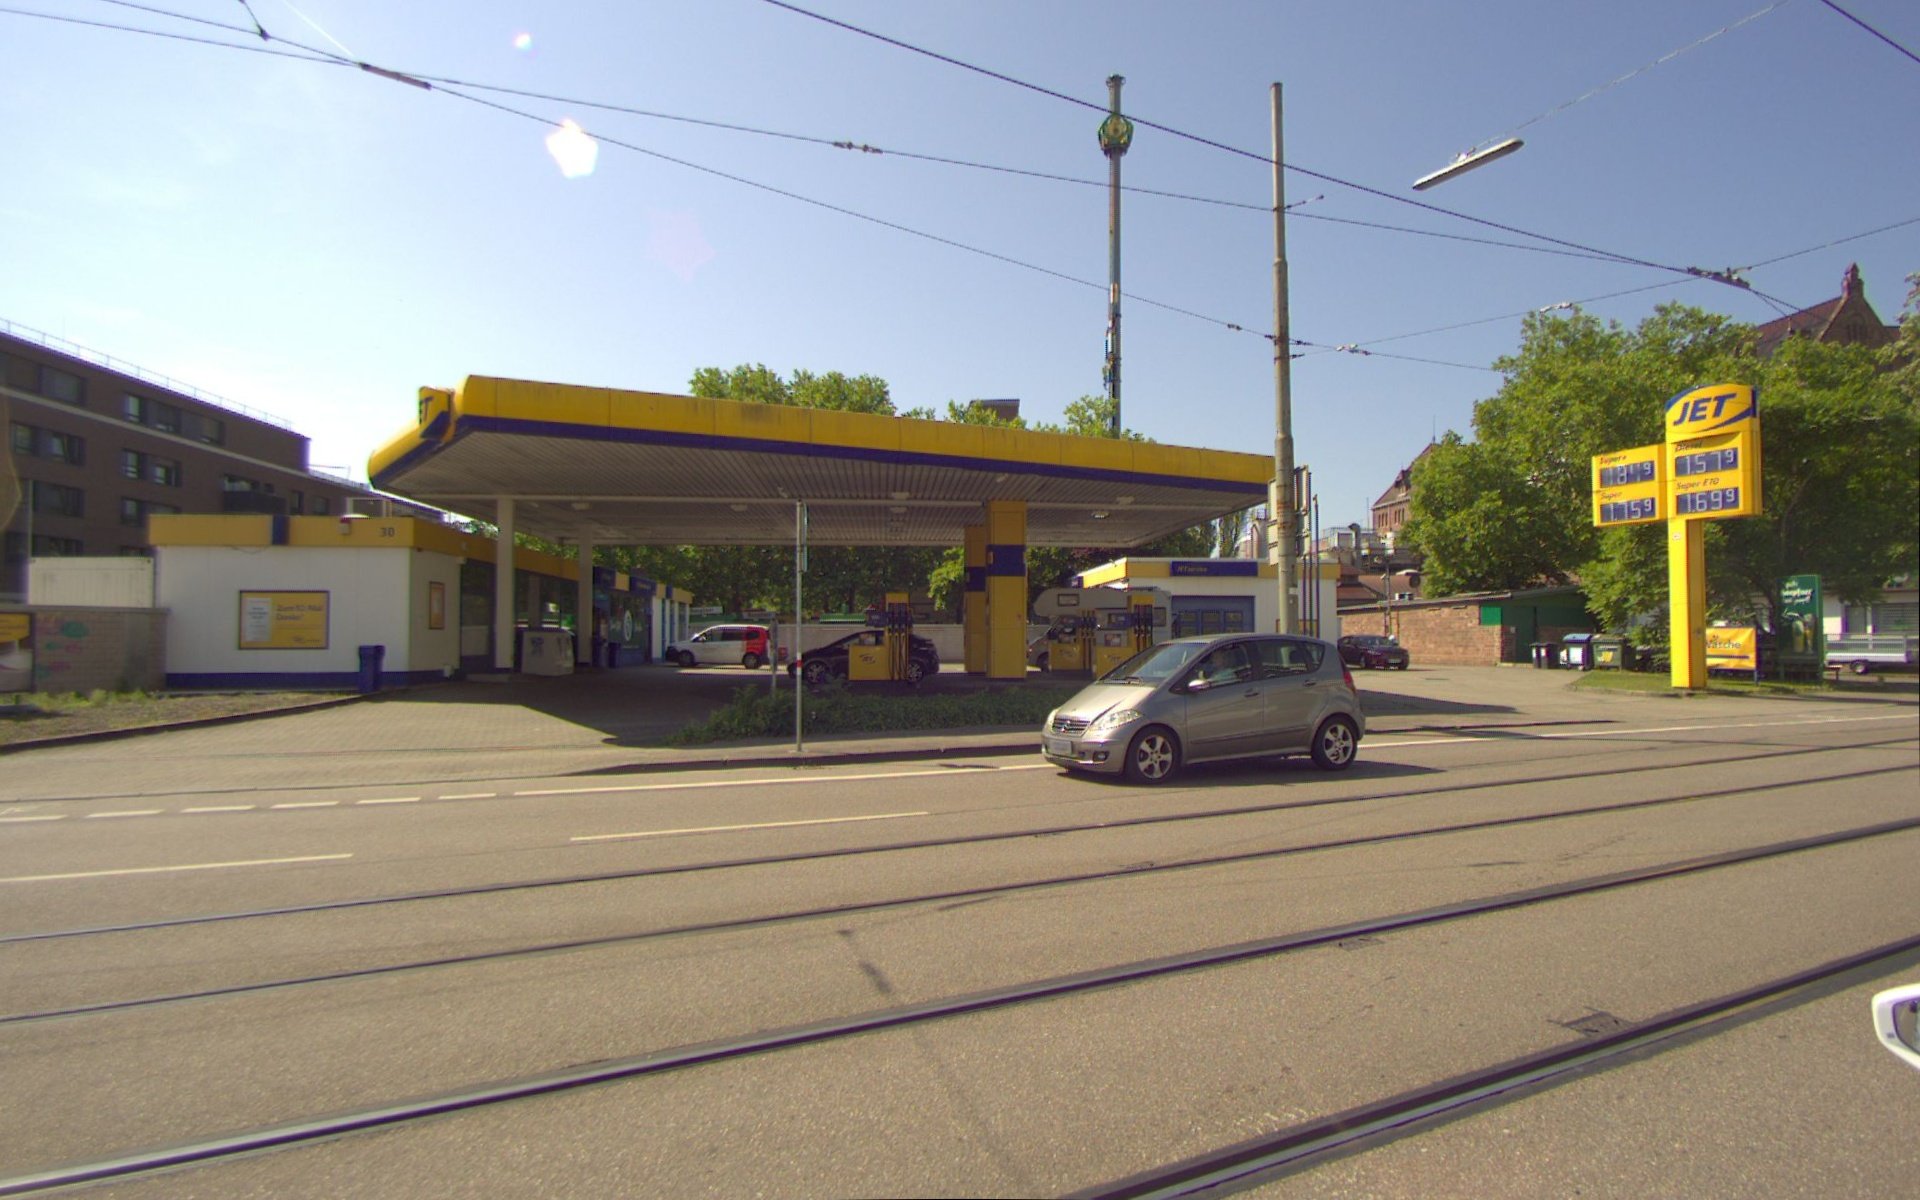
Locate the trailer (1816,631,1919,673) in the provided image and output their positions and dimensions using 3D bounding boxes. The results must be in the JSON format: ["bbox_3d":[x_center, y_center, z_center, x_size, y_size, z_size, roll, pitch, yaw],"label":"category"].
[{"bbox_3d":[35.468,1.963,38.845,1.755,1.546,3.204,1,-2,-27],"label":"trailer"}]

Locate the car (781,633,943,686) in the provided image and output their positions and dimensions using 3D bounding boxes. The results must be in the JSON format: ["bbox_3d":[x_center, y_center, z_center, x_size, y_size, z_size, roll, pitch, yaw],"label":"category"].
[{"bbox_3d":[-2.662,1.624,27.699,4.306,1.320,1.701,1,0,-4],"label":"car"}]

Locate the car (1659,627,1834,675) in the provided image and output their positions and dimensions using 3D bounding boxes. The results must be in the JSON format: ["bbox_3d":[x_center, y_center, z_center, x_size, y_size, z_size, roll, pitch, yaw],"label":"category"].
[{"bbox_3d":[27.966,1.784,35.901,4.486,1.646,1.951,0,-2,16],"label":"car"}]

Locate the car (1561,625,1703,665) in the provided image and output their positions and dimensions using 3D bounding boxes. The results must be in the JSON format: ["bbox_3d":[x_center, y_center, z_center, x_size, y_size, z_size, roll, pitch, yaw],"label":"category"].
[{"bbox_3d":[27.660,1.854,41.525,4.487,1.604,1.950,-1,-2,17],"label":"car"}]

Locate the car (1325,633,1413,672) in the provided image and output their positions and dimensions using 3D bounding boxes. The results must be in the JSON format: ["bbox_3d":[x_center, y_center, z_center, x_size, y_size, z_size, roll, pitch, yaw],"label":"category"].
[{"bbox_3d":[17.331,2.202,42.747,1.900,1.547,4.171,1,-2,-3],"label":"car"}]

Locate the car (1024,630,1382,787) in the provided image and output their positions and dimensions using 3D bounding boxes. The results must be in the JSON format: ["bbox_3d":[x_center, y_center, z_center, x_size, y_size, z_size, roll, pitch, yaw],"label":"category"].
[{"bbox_3d":[2.848,1.196,11.802,3.838,1.591,1.742,2,-4,-24],"label":"car"}]

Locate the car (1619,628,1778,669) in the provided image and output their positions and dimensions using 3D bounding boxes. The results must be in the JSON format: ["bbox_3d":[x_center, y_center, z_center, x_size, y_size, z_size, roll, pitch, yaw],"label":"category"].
[{"bbox_3d":[28.162,1.826,38.461,4.486,1.487,1.951,0,-2,16],"label":"car"}]

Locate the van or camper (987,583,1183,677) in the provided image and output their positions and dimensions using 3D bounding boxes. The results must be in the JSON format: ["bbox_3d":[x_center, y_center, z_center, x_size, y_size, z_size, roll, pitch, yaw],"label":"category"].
[{"bbox_3d":[4.431,1.000,35.727,6.576,3.007,2.618,2,1,8],"label":"van or camper"}]

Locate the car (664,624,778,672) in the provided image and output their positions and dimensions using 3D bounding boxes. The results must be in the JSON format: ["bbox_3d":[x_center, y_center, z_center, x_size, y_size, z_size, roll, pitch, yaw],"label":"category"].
[{"bbox_3d":[-9.961,1.989,42.090,4.389,1.786,1.777,2,0,-5],"label":"car"}]

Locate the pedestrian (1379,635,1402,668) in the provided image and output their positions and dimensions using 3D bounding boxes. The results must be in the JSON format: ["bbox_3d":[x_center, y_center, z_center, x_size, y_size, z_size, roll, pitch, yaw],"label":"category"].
[{"bbox_3d":[19.172,2.281,44.717,0.630,1.488,0.676,1,-2,-20],"label":"pedestrian"}]

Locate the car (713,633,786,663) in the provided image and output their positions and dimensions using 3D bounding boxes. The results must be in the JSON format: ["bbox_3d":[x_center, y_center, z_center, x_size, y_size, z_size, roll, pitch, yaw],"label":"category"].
[{"bbox_3d":[-10.560,2.412,50.523,3.497,1.478,1.739,0,-2,-9],"label":"car"}]
